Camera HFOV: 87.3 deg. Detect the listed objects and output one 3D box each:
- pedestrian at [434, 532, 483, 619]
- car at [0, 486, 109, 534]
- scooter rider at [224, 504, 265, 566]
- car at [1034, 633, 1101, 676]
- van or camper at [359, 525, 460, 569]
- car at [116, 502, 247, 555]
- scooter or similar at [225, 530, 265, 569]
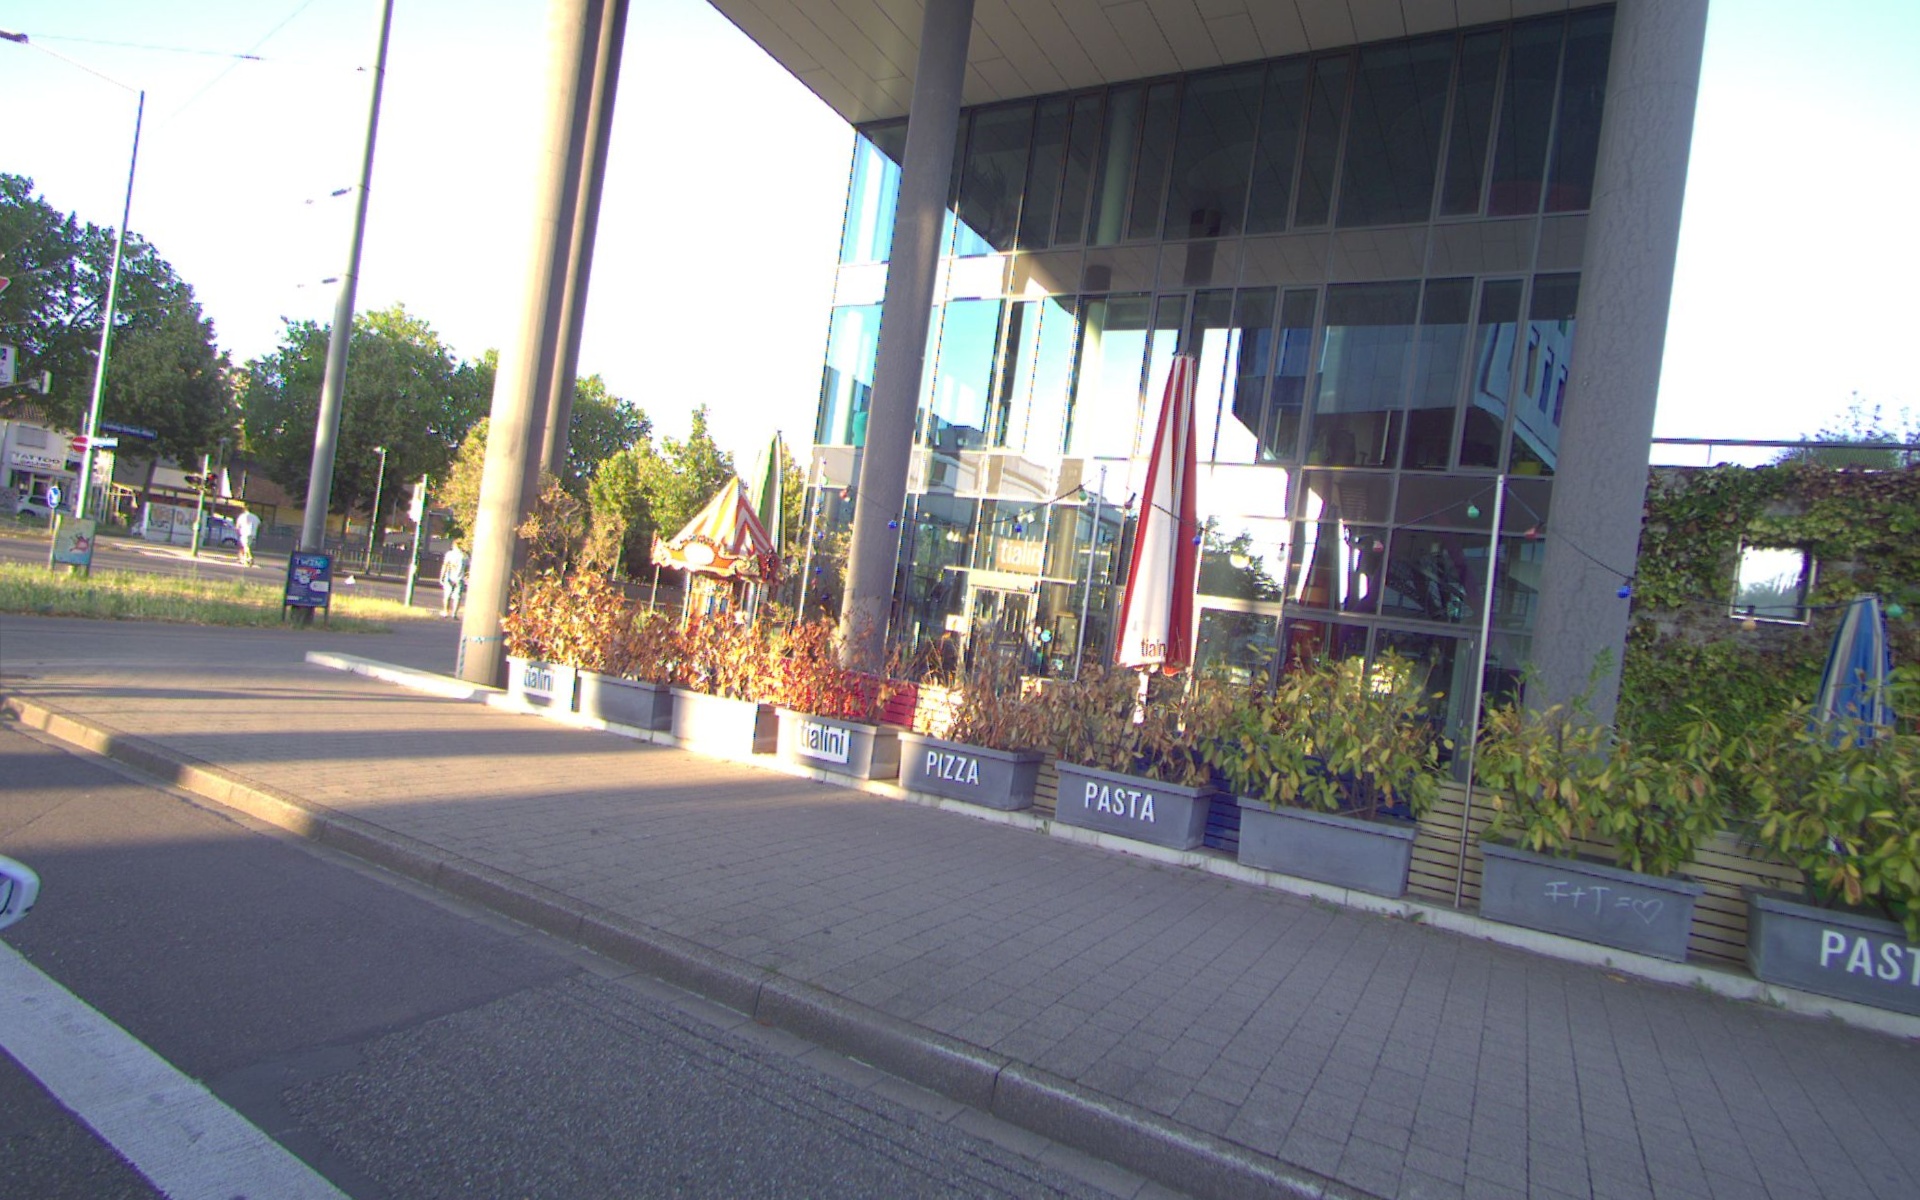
[{"bbox_3d":[-11.197,-0.540,22.456,0.755,1.812,0.796,8,-1,-28],"label":"pedestrian"},{"bbox_3d":[-50.542,-4.983,56.071,1.968,1.868,4.236,7,-2,34],"label":"car"},{"bbox_3d":[-23.173,-2.110,32.573,0.658,1.876,0.703,7,-1,31],"label":"scooter rider"},{"bbox_3d":[6.003,3.045,55.886,1.826,1.849,4.390,10,0,31],"label":"car"},{"bbox_3d":[-43.931,-4.210,80.415,2.229,2.438,6.569,7,-2,36],"label":"van or camper"},{"bbox_3d":[-37.378,-3.401,48.431,1.829,1.748,4.547,7,-2,27],"label":"car"},{"bbox_3d":[-23.113,-1.623,32.508,1.222,1.103,0.511,7,-1,32],"label":"scooter or similar"}]
